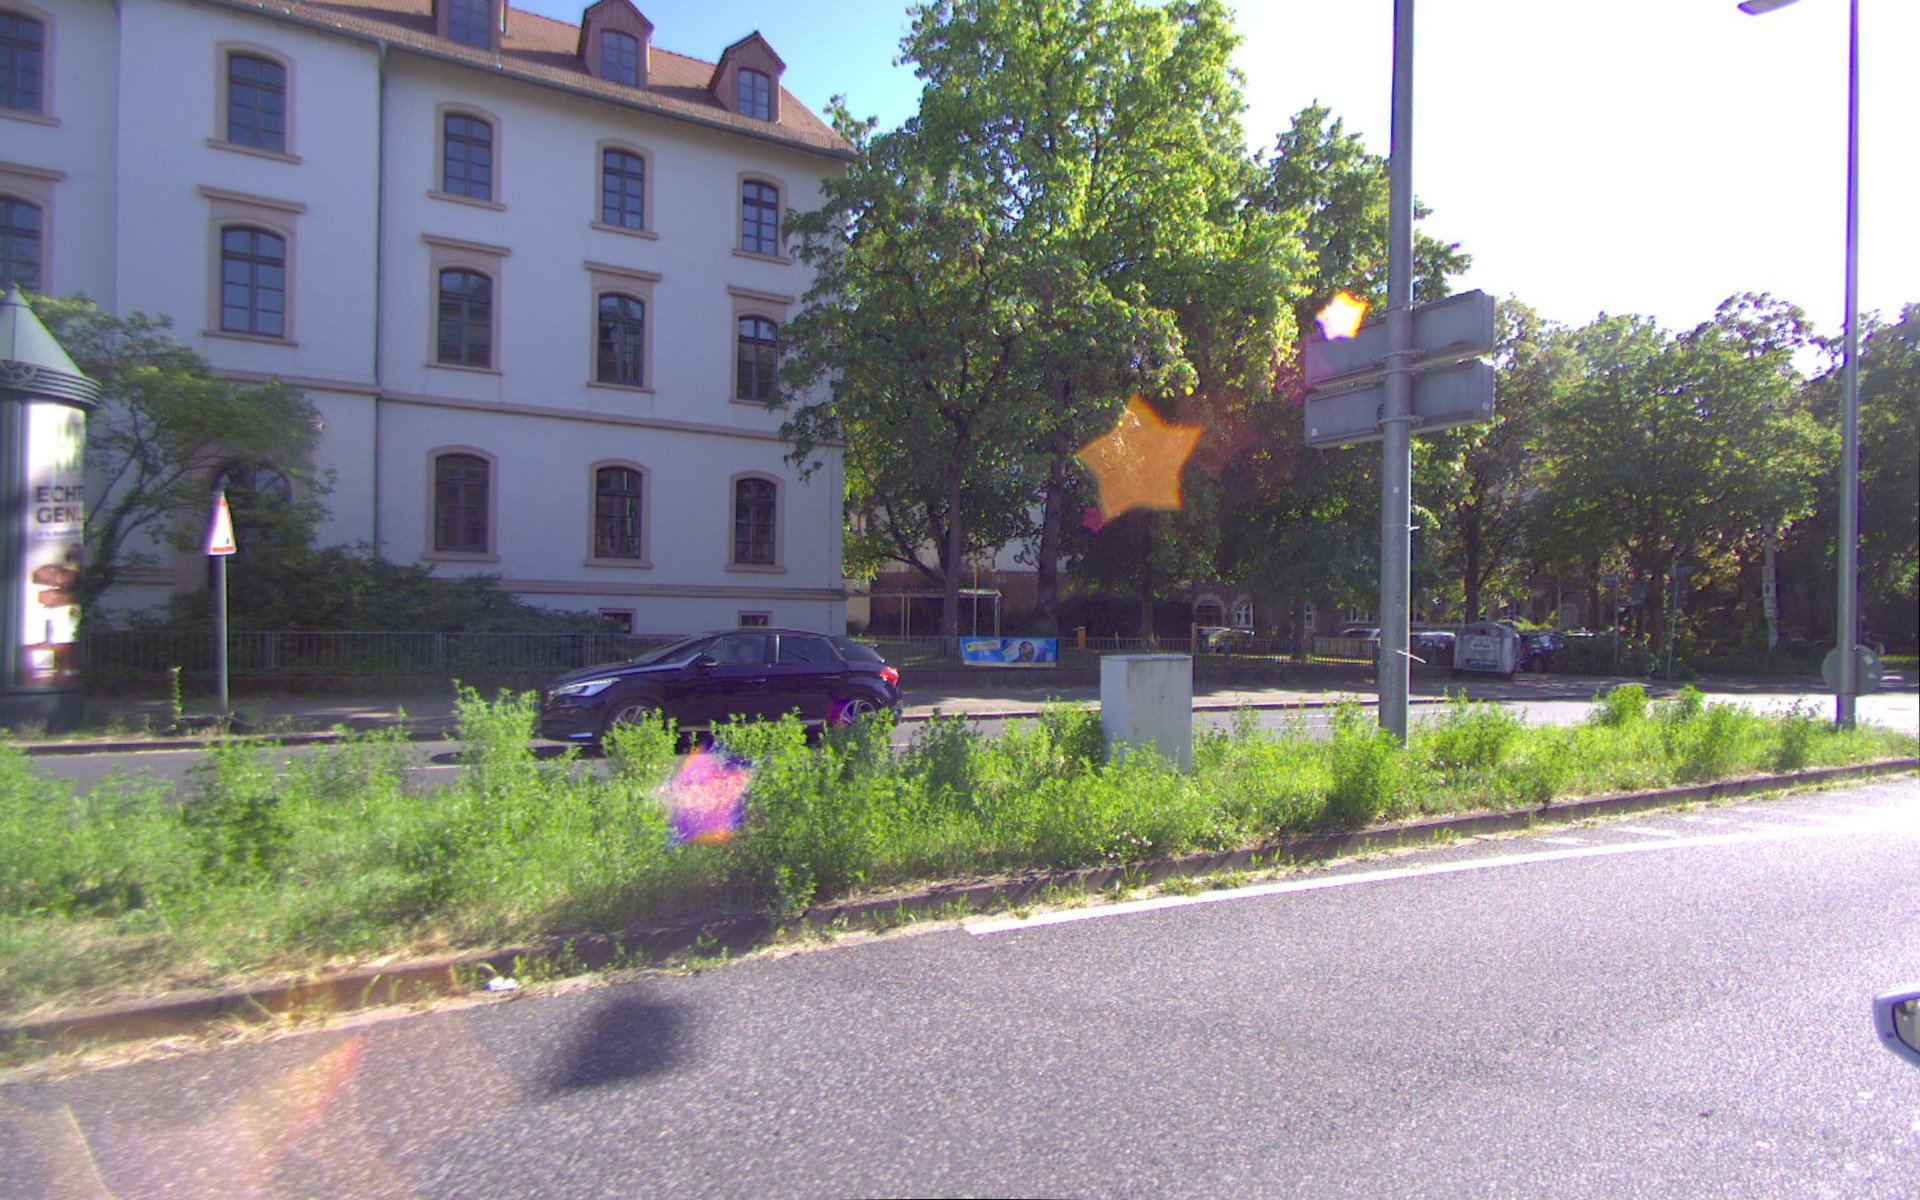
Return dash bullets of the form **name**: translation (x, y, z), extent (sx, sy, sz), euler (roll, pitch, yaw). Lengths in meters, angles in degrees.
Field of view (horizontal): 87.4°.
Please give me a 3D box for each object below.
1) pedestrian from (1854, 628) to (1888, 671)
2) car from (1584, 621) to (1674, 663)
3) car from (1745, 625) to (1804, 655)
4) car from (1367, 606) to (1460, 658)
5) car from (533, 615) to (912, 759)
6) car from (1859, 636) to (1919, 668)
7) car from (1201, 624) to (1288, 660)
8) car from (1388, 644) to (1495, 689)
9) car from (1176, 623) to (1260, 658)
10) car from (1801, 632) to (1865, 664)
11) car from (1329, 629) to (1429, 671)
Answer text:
- **pedestrian**: translation (35.684, 1.937, 39.354), extent (0.701, 1.648, 0.671), euler (1, -1, 4)
- **car**: translation (31.051, 1.937, 46.595), extent (3.953, 1.675, 1.837), euler (5, -2, -29)
- **car**: translation (48.327, 2.361, 59.656), extent (1.945, 1.684, 3.995), euler (0, -1, 28)
- **car**: translation (24.003, 1.679, 53.088), extent (4.927, 2.354, 1.837), euler (5, -2, -29)
- **car**: translation (-2.964, 1.019, 12.665), extent (4.365, 1.539, 1.790), euler (2, -1, -26)
- **car**: translation (52.107, 2.882, 56.167), extent (1.947, 1.684, 3.992), euler (0, -1, 31)
- **car**: translation (14.034, 2.084, 49.524), extent (3.953, 1.510, 1.837), euler (5, -2, -29)
- **car**: translation (19.051, 2.626, 39.686), extent (3.953, 1.510, 1.837), euler (5, -2, -29)
- **car**: translation (13.224, 2.087, 51.376), extent (3.953, 1.510, 1.837), euler (5, -2, -29)
- **car**: translation (49.789, 2.711, 57.378), extent (1.946, 1.684, 3.993), euler (0, -1, 29)
- **car**: translation (17.760, 2.117, 42.540), extent (3.953, 1.510, 1.837), euler (5, -2, -29)
